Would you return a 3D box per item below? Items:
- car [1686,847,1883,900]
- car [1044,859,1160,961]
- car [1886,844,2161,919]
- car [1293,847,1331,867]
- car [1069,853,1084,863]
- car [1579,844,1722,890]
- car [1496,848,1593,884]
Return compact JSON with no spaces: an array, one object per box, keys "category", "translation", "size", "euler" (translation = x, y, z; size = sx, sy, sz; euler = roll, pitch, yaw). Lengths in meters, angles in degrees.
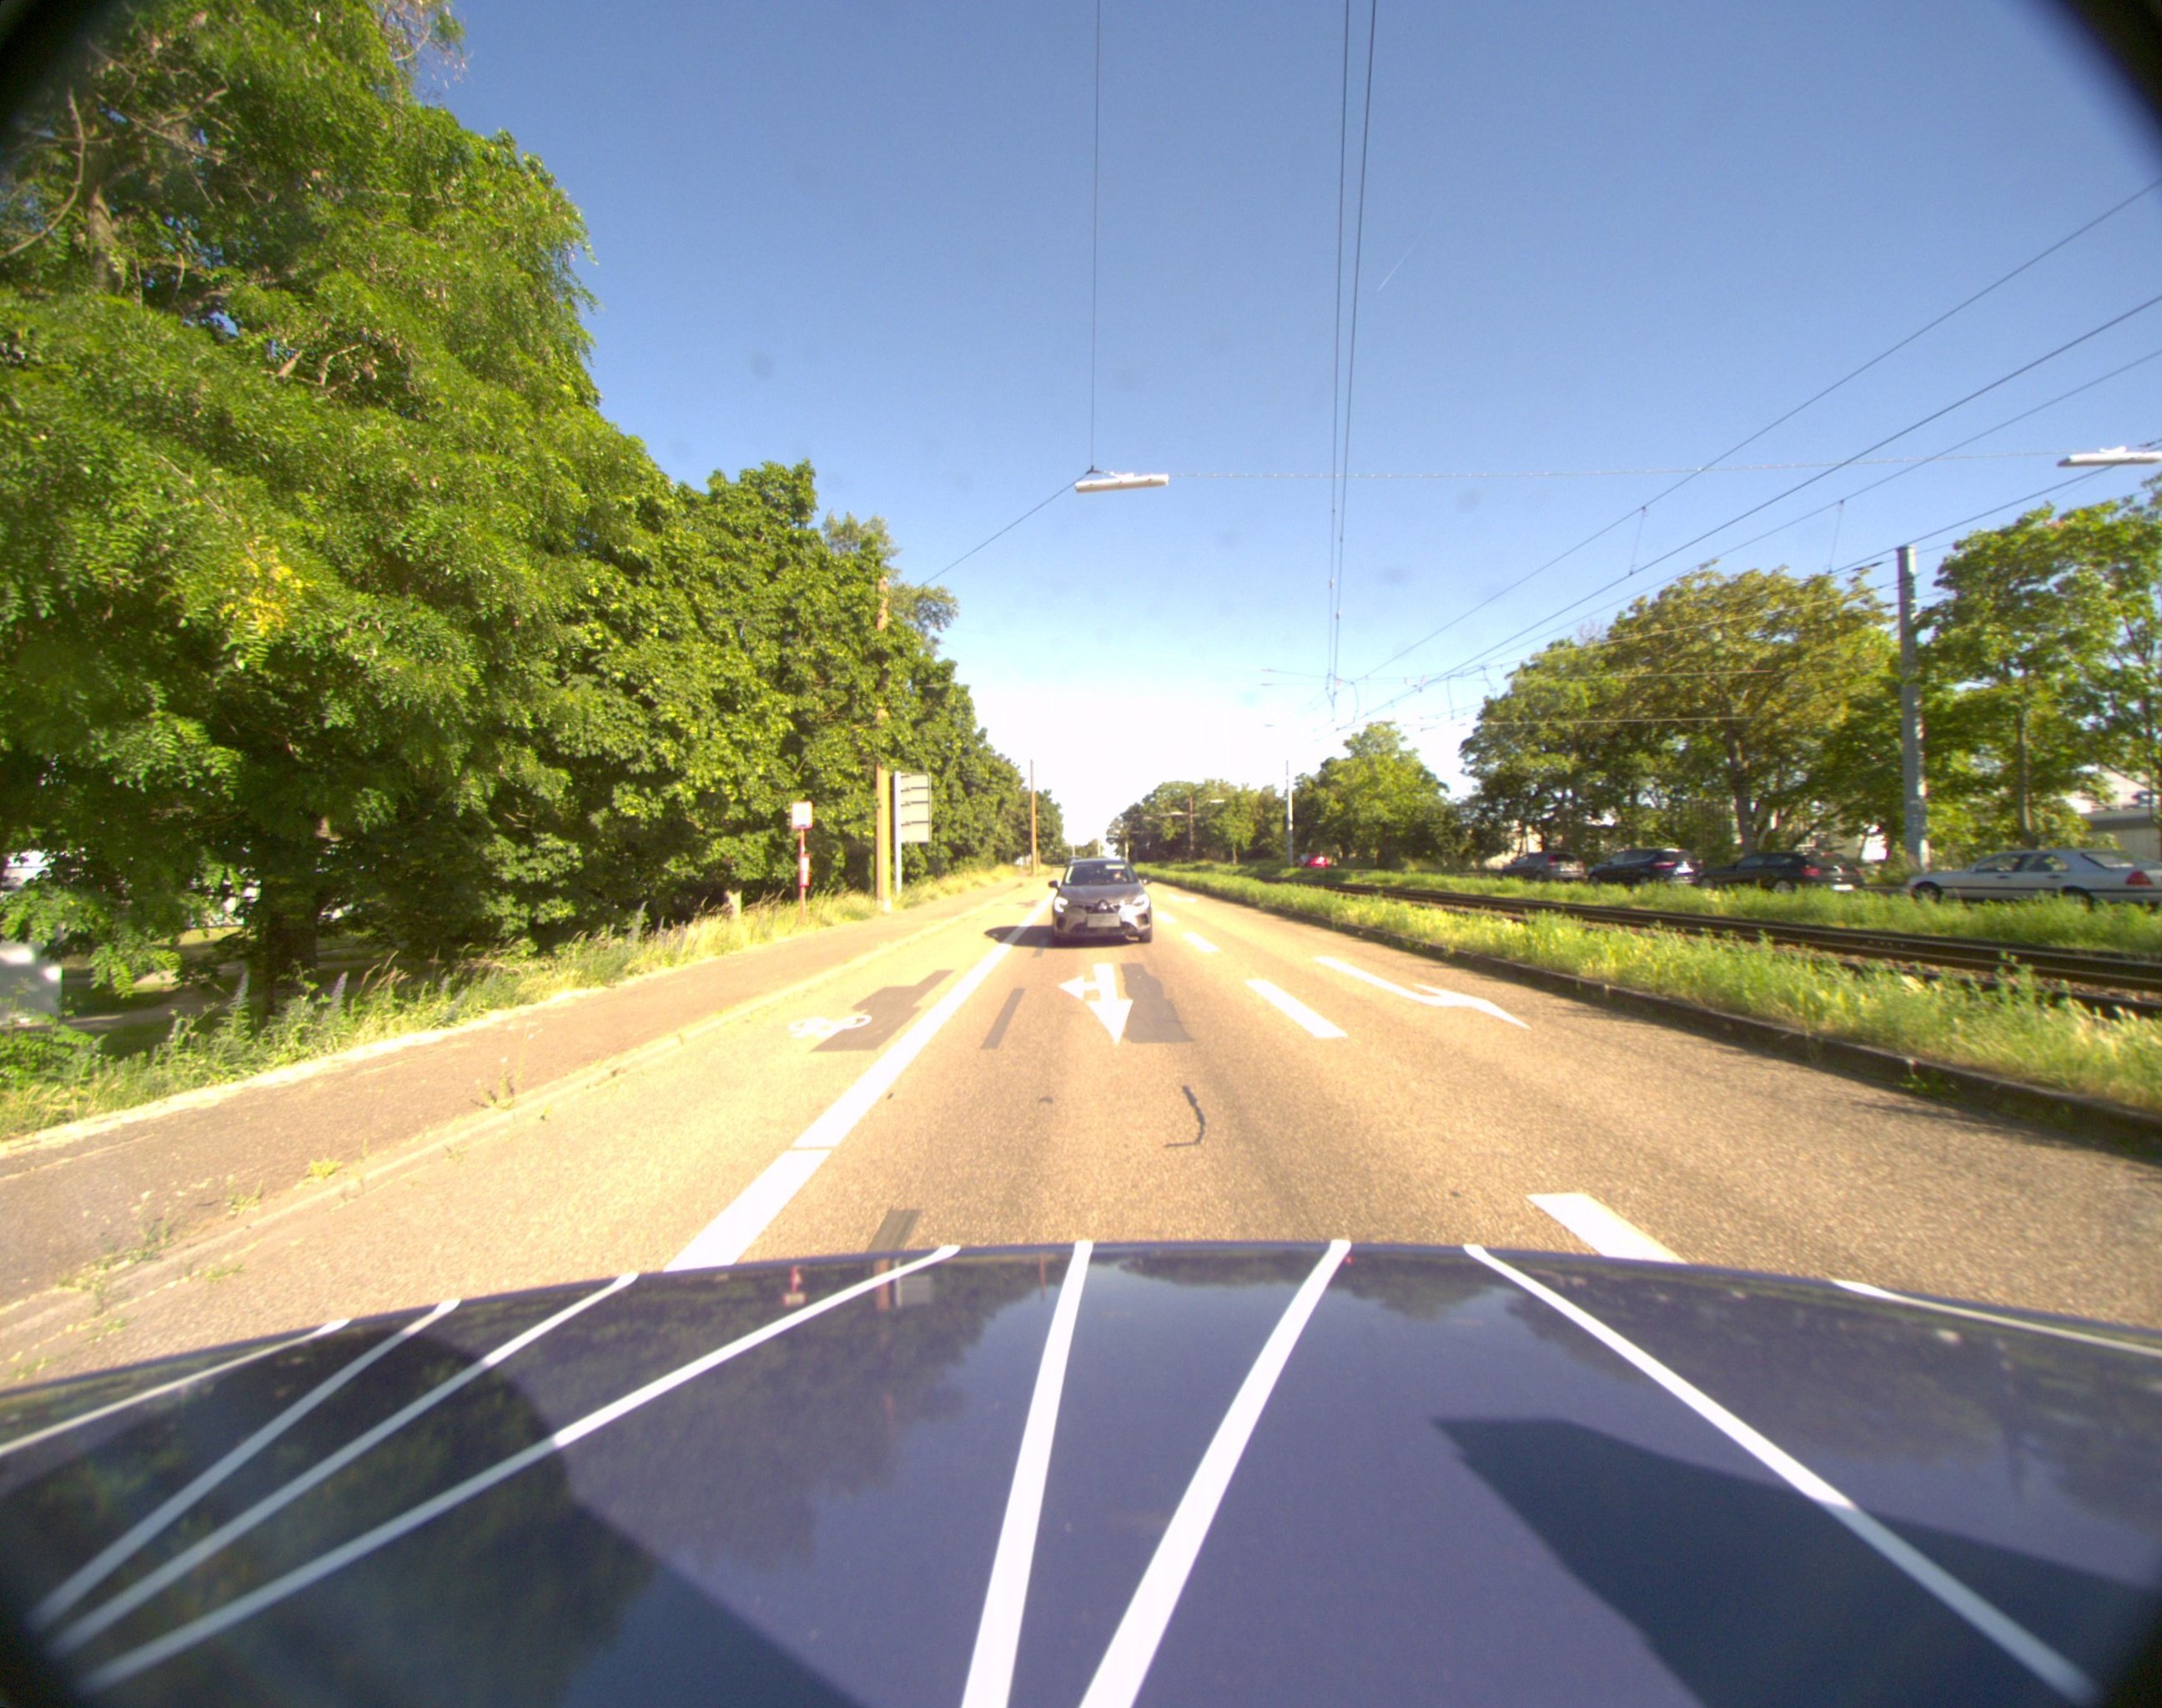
[{"category":"car","translation":[21.408,0.568,23.430],"size":[1.998,1.429,4.415],"euler":[-2,0,1]},{"category":"car","translation":[0.358,0.925,14.625],"size":[1.822,1.589,4.413],"euler":[-2,0,0]},{"category":"car","translation":[21.469,0.539,17.004],"size":[1.933,1.429,4.695],"euler":[-2,0,1]},{"category":"car","translation":[20.993,0.240,69.339],"size":[2.009,1.692,4.466],"euler":[-2,0,-1]},{"category":"car","translation":[-0.809,0.667,131.435],"size":[2.000,1.577,3.997],"euler":[-2,0,-7]},{"category":"car","translation":[21.383,0.484,28.790],"size":[1.999,1.565,4.435],"euler":[-2,0,-1]},{"category":"car","translation":[21.503,0.512,35.454],"size":[1.740,1.485,4.327],"euler":[-3,0,-1]}]
